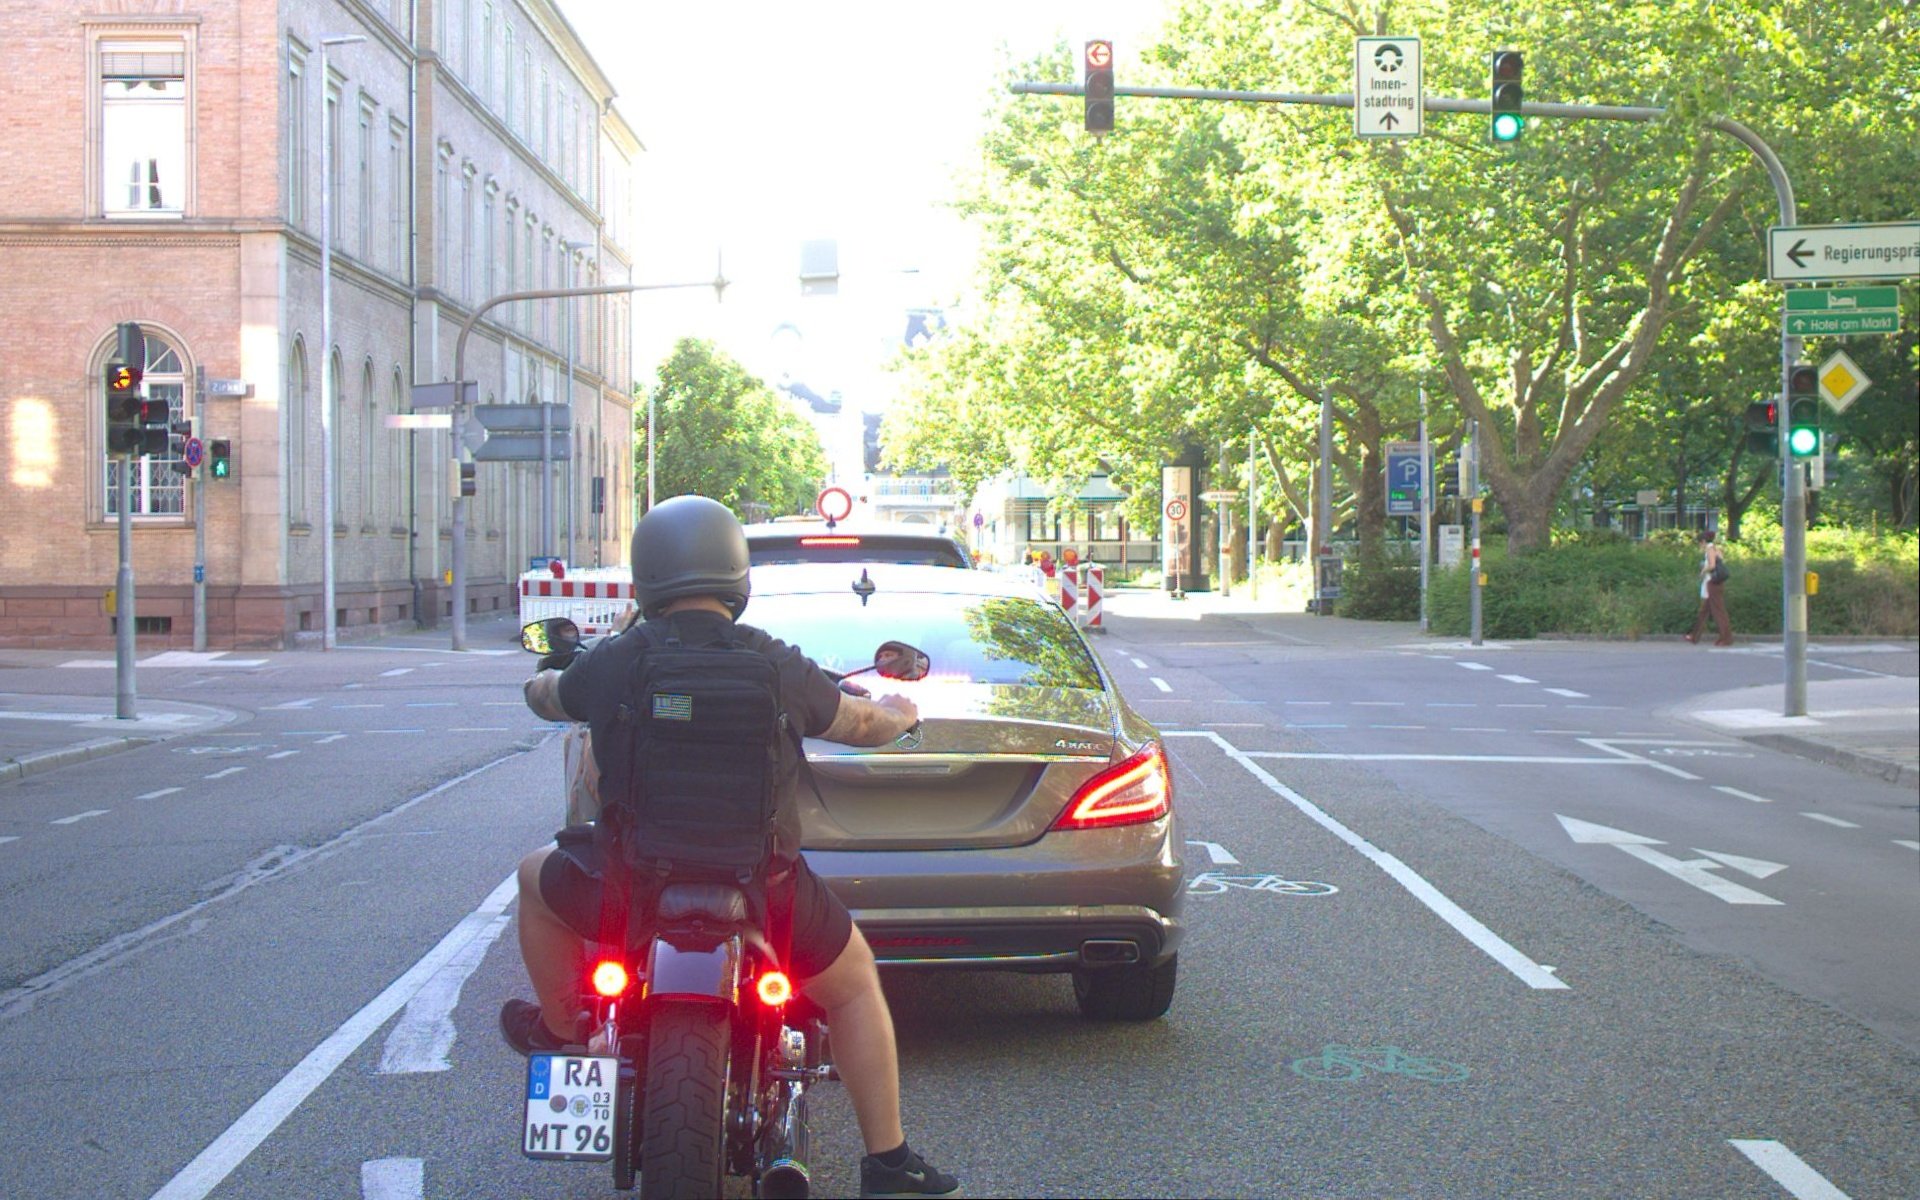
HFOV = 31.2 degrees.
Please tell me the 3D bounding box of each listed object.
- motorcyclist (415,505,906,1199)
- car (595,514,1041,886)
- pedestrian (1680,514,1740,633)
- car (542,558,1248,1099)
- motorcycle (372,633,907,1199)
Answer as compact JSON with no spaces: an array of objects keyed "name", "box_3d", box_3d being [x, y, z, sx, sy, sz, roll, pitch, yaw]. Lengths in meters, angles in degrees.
[{"name":"motorcyclist","box_3d":[-0.612,0.584,7.556,0.980,1.573,1.248,0,1,-1]},{"name":"car","box_3d":[-0.665,0.433,17.557,1.993,1.660,4.000,1,1,-1]},{"name":"pedestrian","box_3d":[11.243,-0.399,51.527,0.678,1.766,0.616,1,0,34]},{"name":"car","box_3d":[-0.431,0.590,11.635,1.869,1.439,4.431,0,1,-8]},{"name":"motorcycle","box_3d":[-0.611,0.743,7.577,0.980,1.271,2.407,0,1,-1]}]
